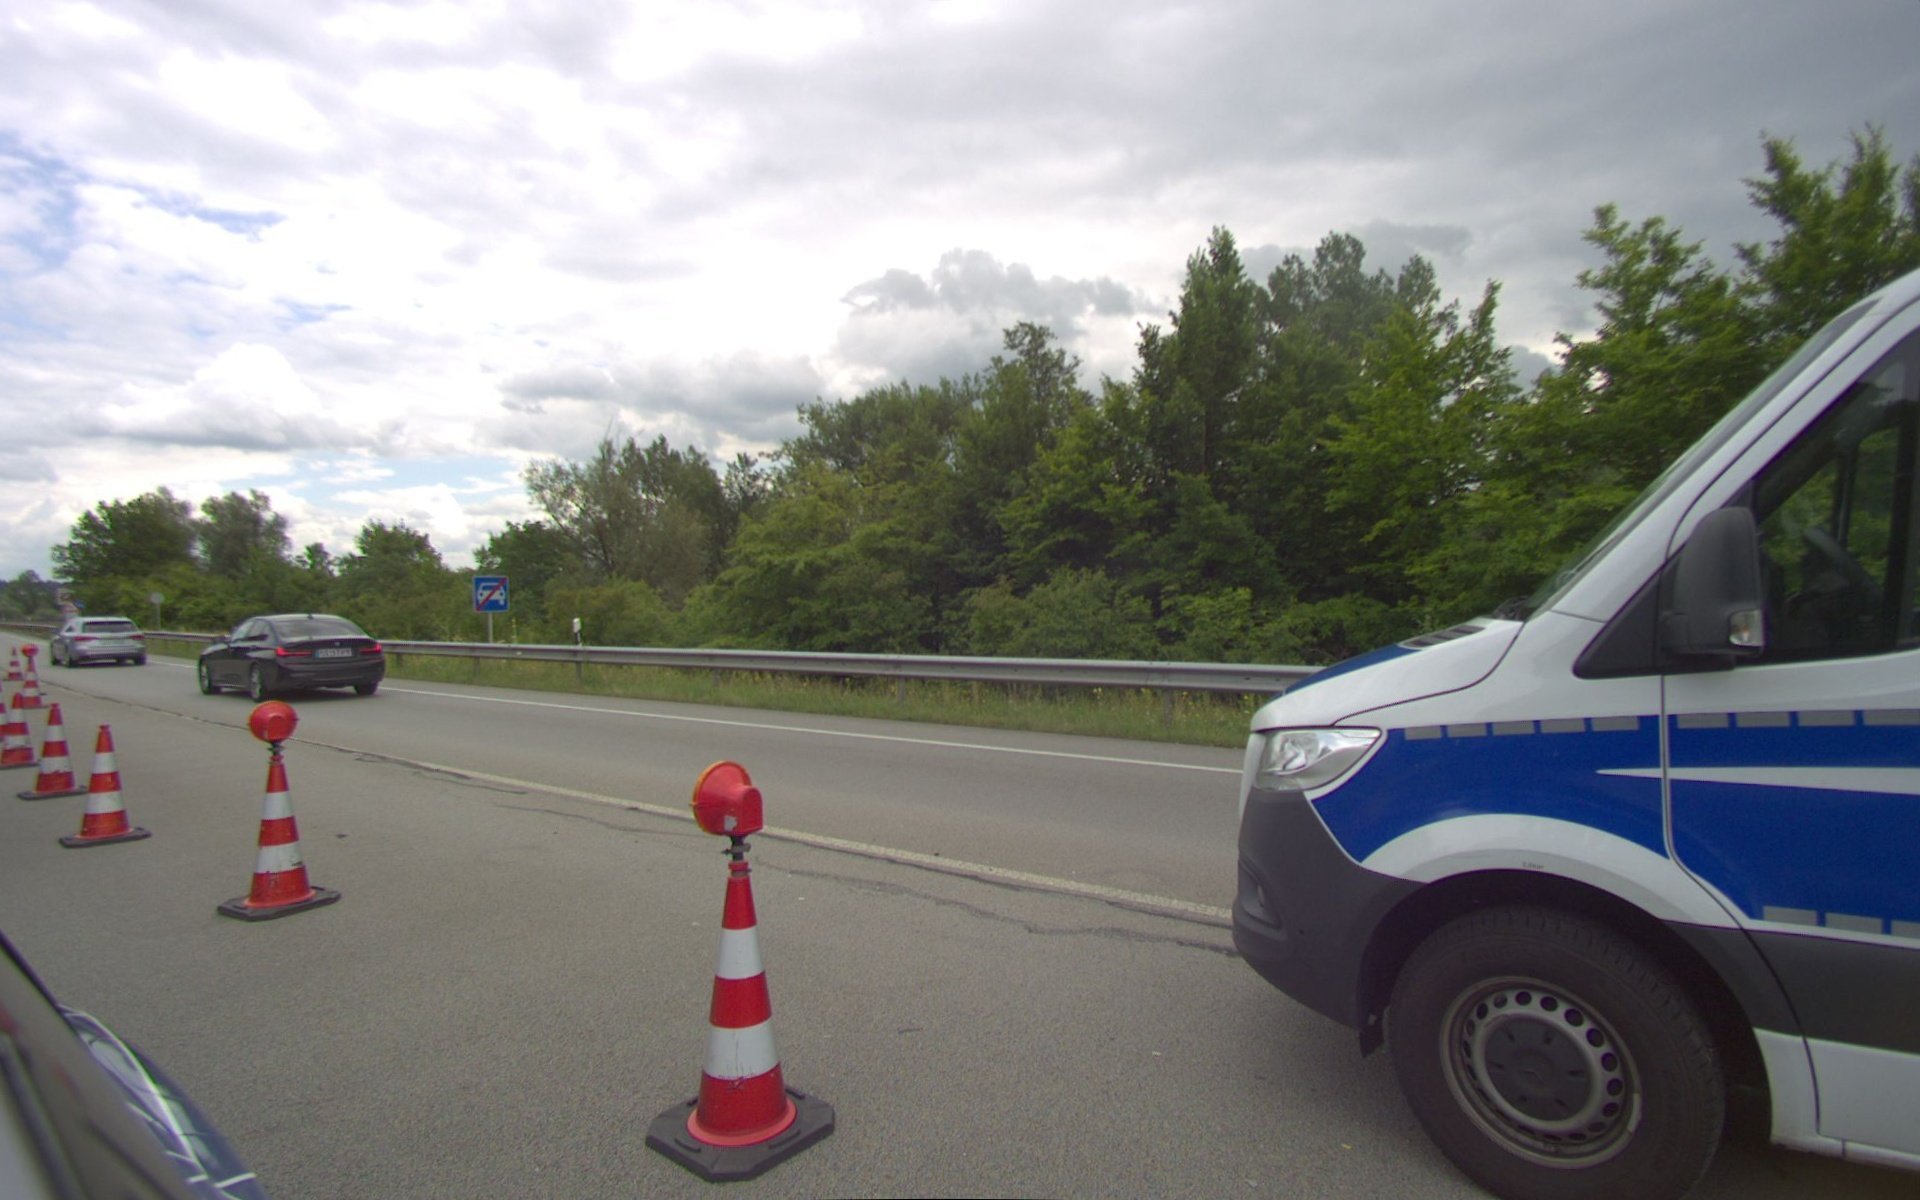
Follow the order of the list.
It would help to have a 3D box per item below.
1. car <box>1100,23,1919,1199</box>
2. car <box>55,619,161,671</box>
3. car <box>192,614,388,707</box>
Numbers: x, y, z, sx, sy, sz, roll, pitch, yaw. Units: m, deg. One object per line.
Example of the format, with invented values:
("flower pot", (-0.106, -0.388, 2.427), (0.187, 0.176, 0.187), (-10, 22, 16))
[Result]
("car", (3.110, 0.138, 2.160), (5.272, 2.482, 2.010), (-1, -1, 38))
("car", (-25.400, 1.307, 30.115), (4.370, 1.412, 1.662), (-1, -1, 39))
("car", (-11.992, 0.997, 18.019), (4.331, 1.447, 1.692), (-1, -1, 39))
